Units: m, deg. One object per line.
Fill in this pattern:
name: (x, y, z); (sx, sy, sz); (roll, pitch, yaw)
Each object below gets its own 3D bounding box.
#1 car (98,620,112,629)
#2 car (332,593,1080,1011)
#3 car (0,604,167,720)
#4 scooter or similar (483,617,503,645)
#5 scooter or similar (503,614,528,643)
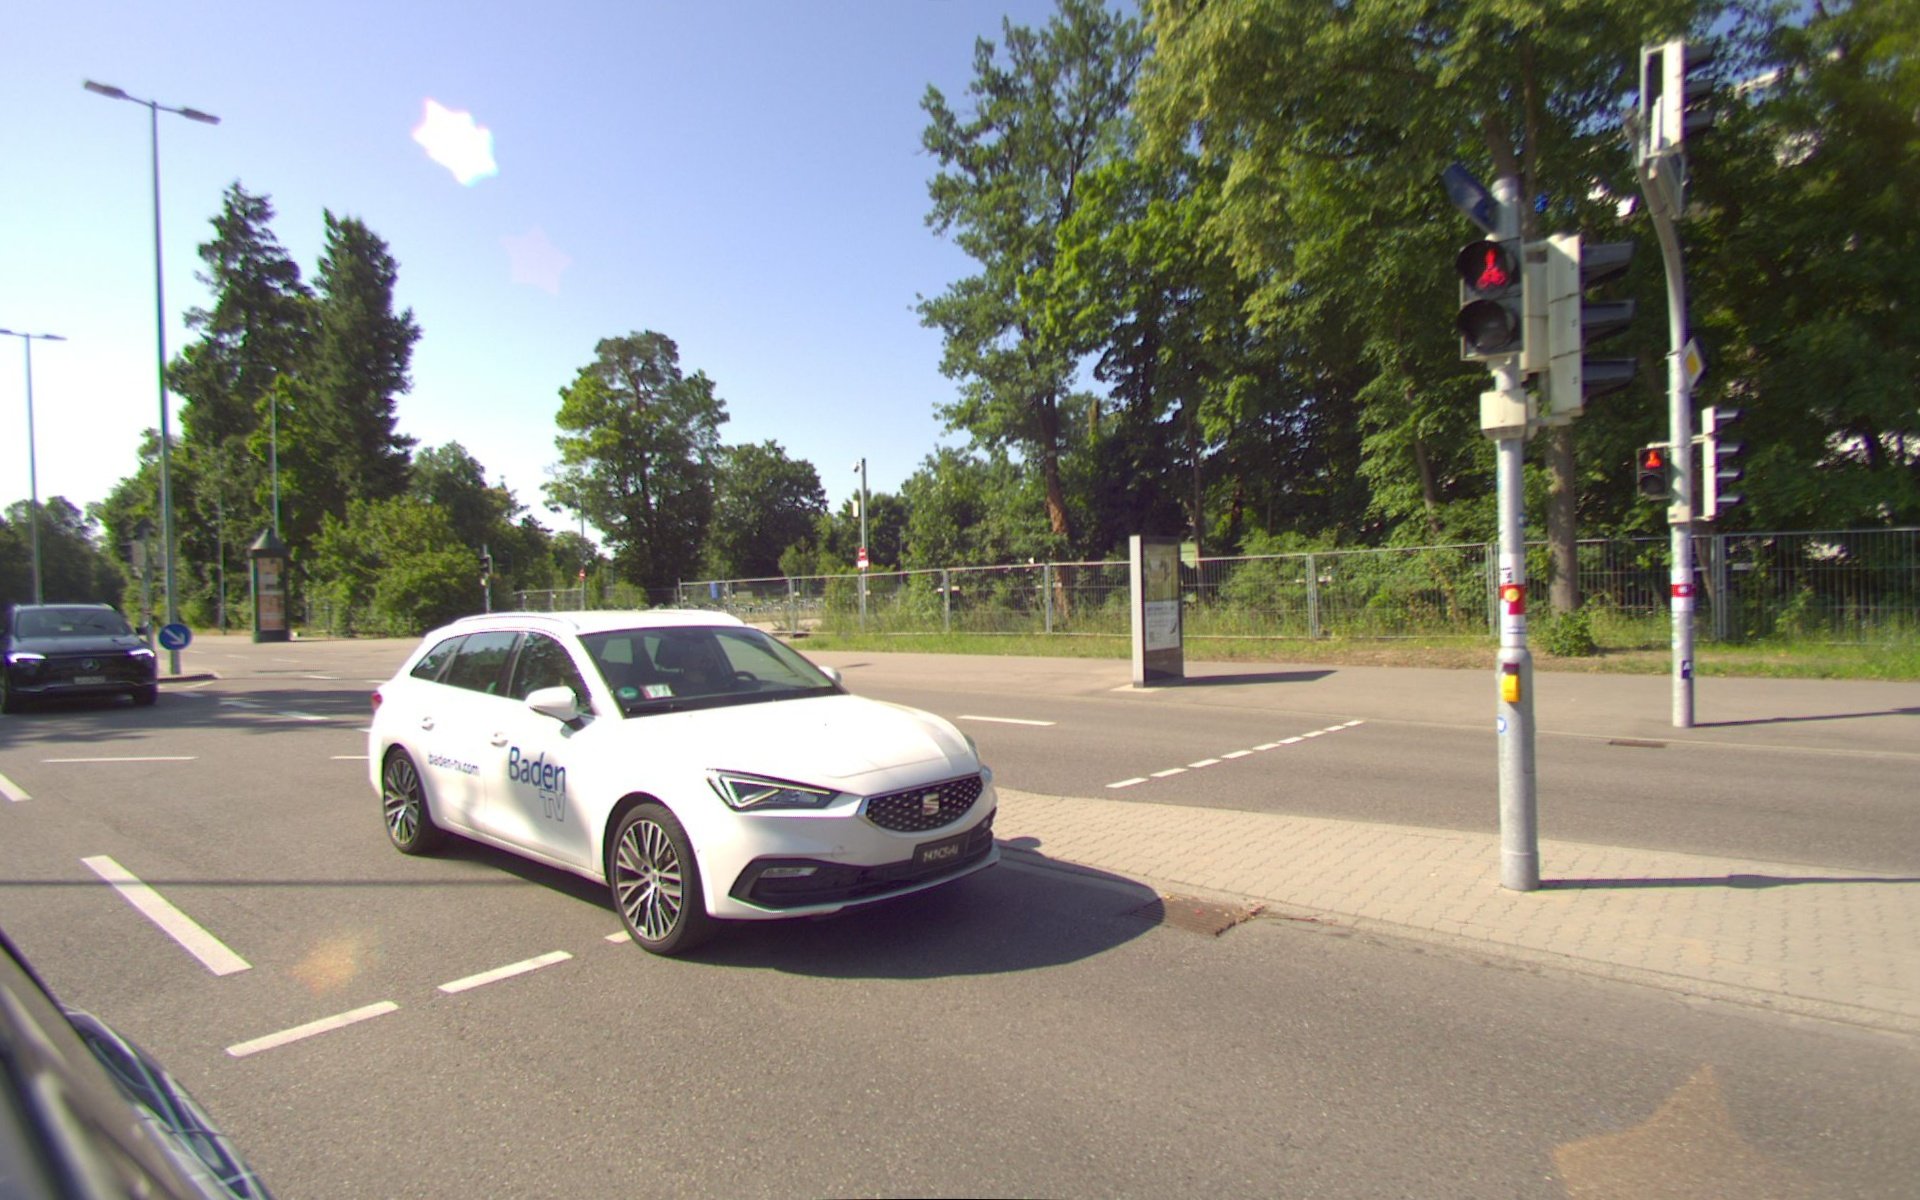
car: (-172.261, 4.932, 203.918); (1.848, 1.874, 4.008); (-2, 0, -38)
car: (-1.769, 0.745, 5.699); (4.717, 1.437, 1.707); (-2, -1, 41)
car: (-14.361, 0.906, 16.165); (4.269, 1.608, 1.786); (-1, -1, 40)
scooter or similar: (-20.029, 1.319, 43.421); (0.390, 1.154, 1.197); (-2, 0, -43)
scooter or similar: (-19.357, 1.236, 44.095); (0.393, 1.231, 1.075); (-2, 0, 17)
